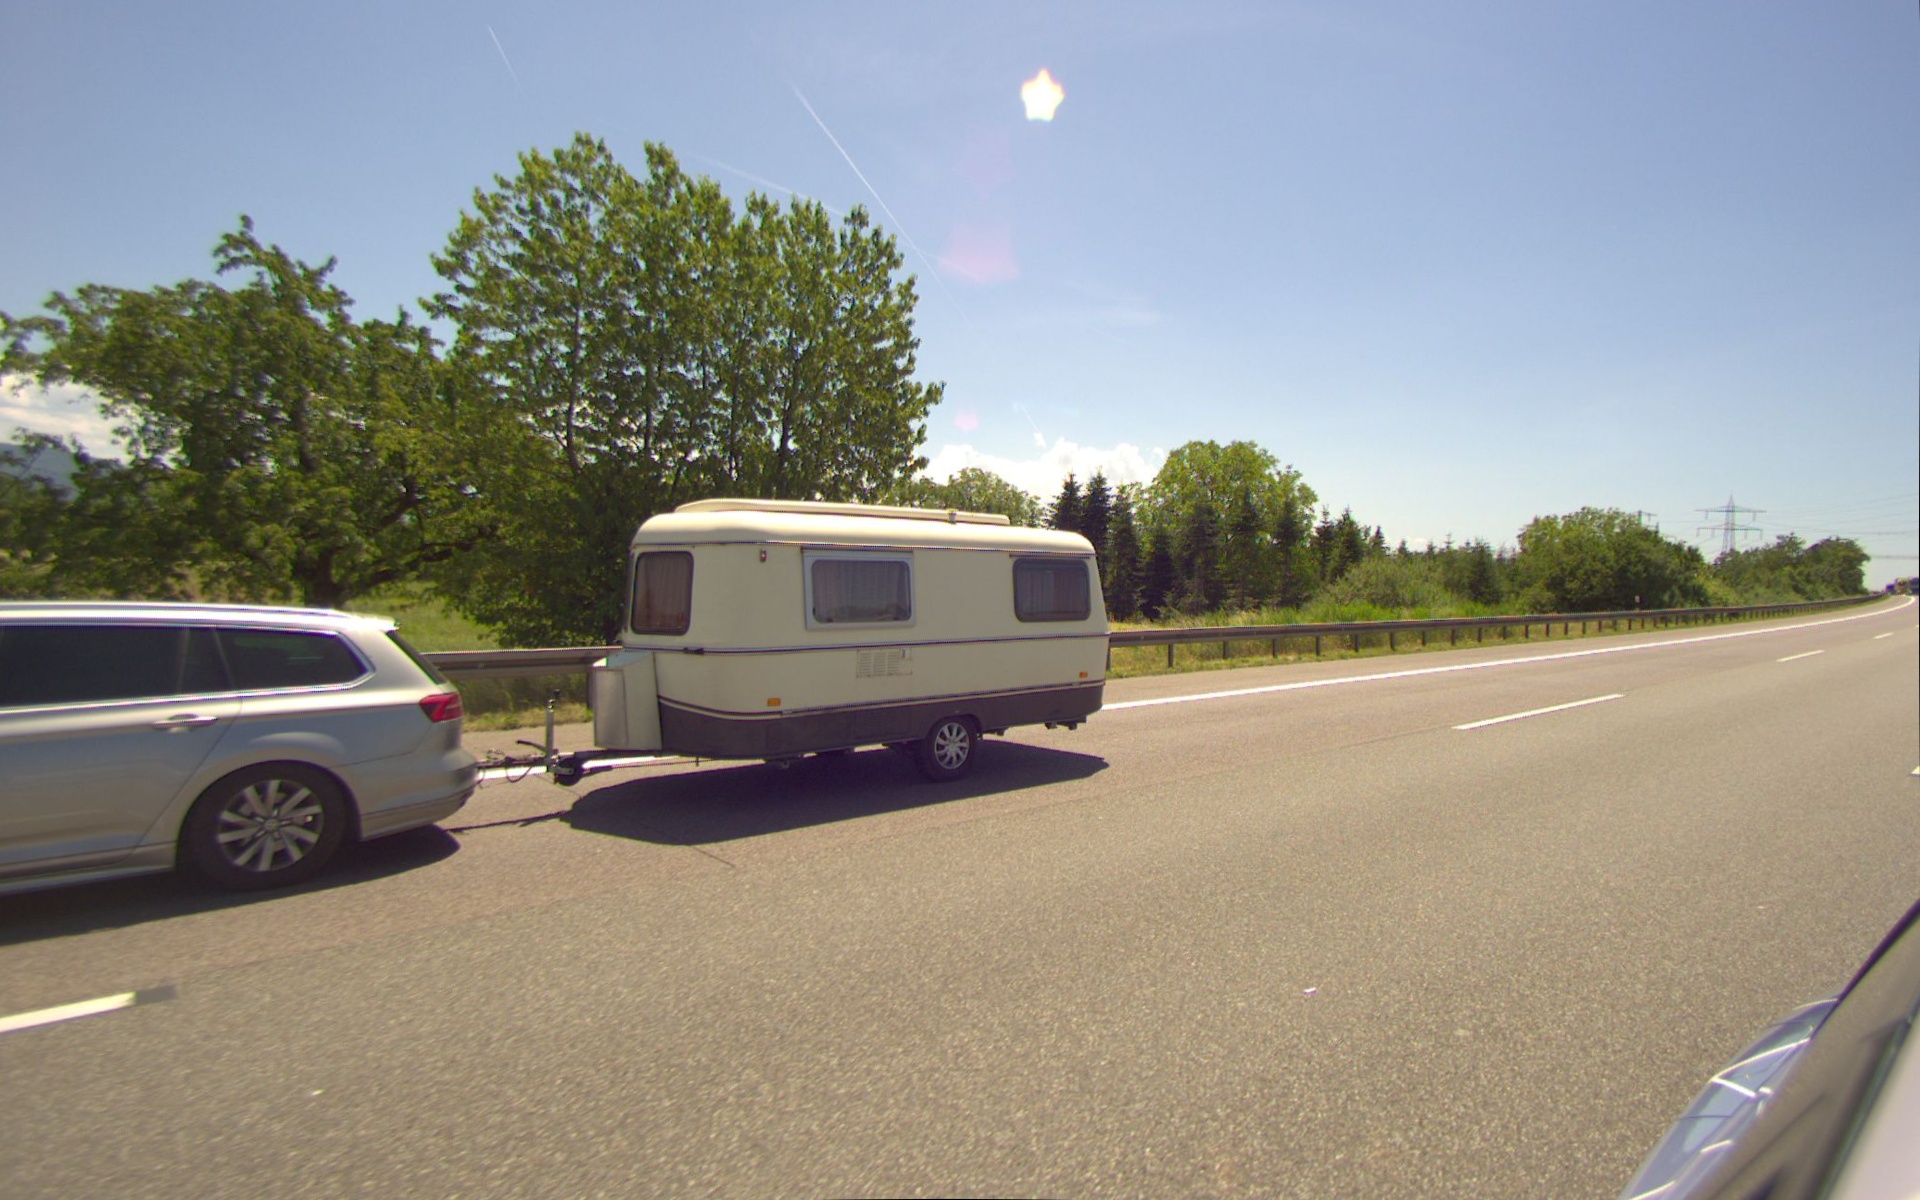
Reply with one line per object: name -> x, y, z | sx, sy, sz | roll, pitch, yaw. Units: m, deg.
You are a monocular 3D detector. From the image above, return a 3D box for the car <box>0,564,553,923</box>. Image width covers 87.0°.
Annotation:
car -> -4.963, 0.616, 4.847 | 5.285, 1.535, 1.890 | 0, 0, -41

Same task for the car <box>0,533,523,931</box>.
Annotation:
car -> -5.153, 0.519, 4.622 | 5.415, 1.679, 2.048 | 1, 1, -42

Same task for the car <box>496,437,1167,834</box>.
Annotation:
car -> -0.817, 0.205, 8.691 | 5.230, 2.350, 2.446 | 1, 1, -43
